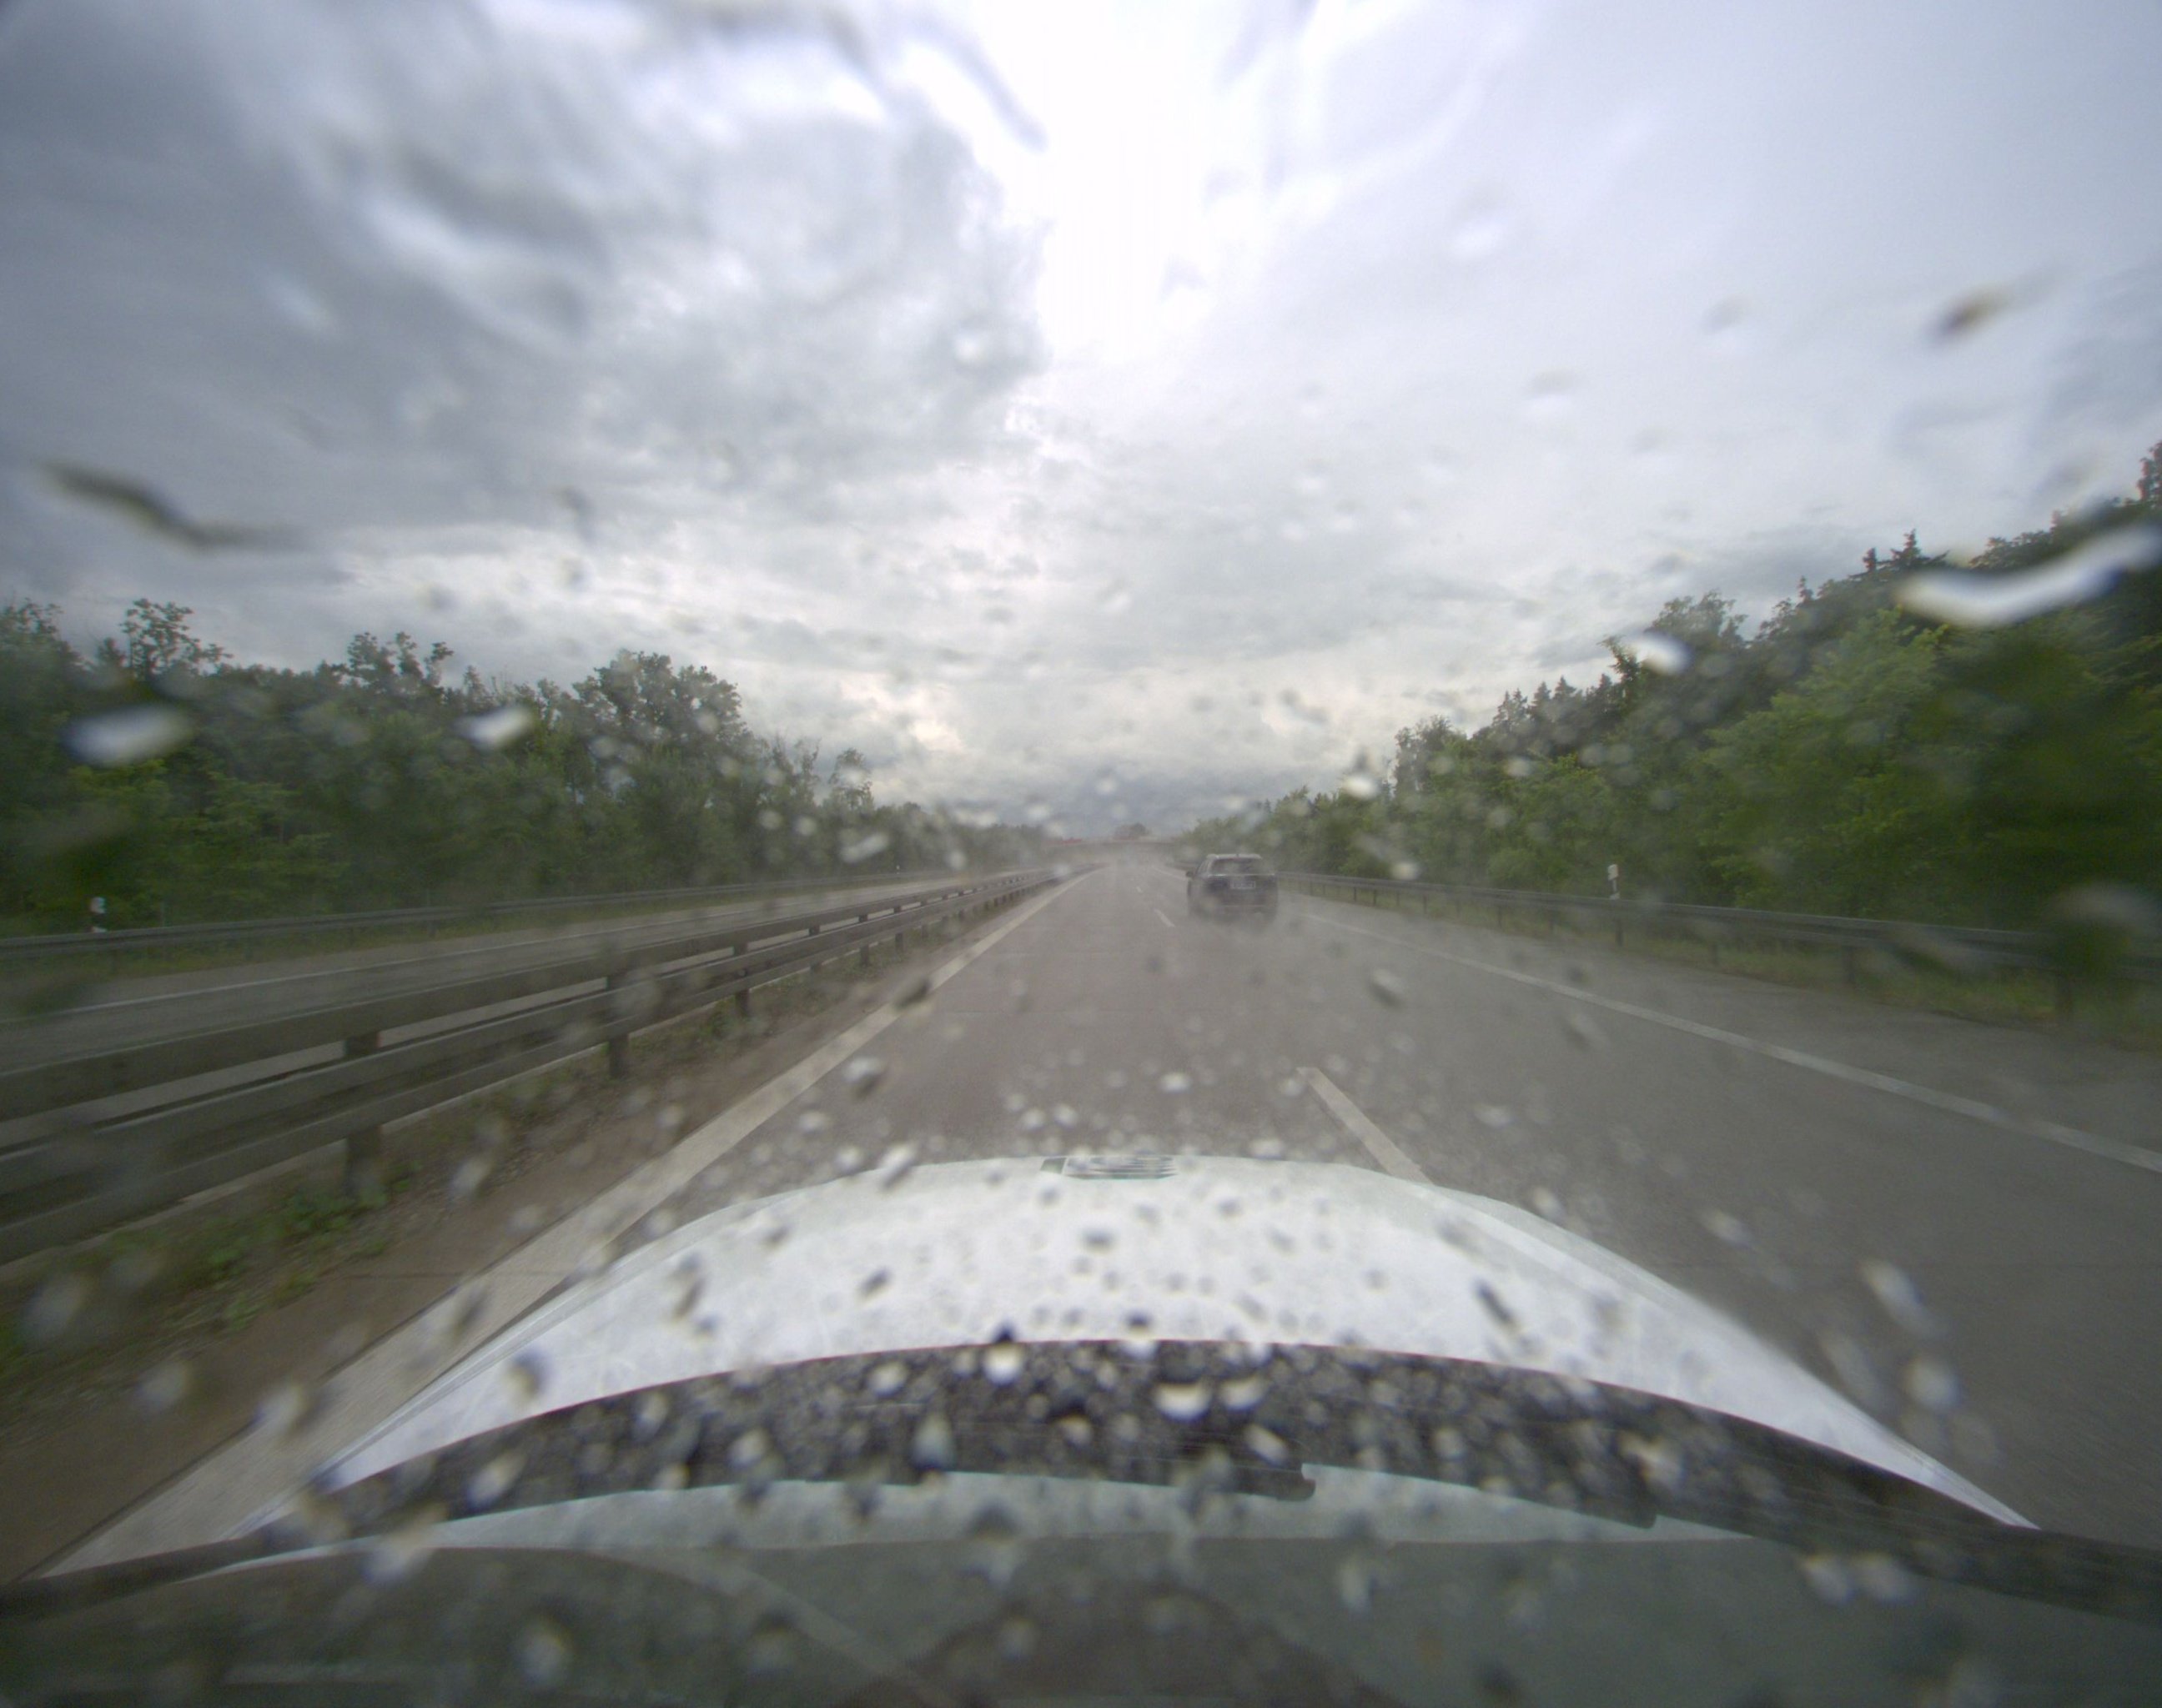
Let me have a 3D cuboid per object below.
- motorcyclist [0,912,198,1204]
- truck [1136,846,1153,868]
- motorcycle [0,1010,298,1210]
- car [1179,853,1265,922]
[{"bbox_3d":[-6.030,1.075,4.613,1.011,1.432,0.920,0,-1,-1],"label":"motorcyclist"},{"bbox_3d":[12.933,0.592,167.313,3.230,4.437,8.253,-1,0,3],"label":"truck"},{"bbox_3d":[-6.031,1.457,4.598,1.019,0.725,2.278,0,0,-1],"label":"motorcycle"},{"bbox_3d":[3.464,0.804,20.553,1.885,1.576,3.637,-1,-1,6],"label":"car"}]
